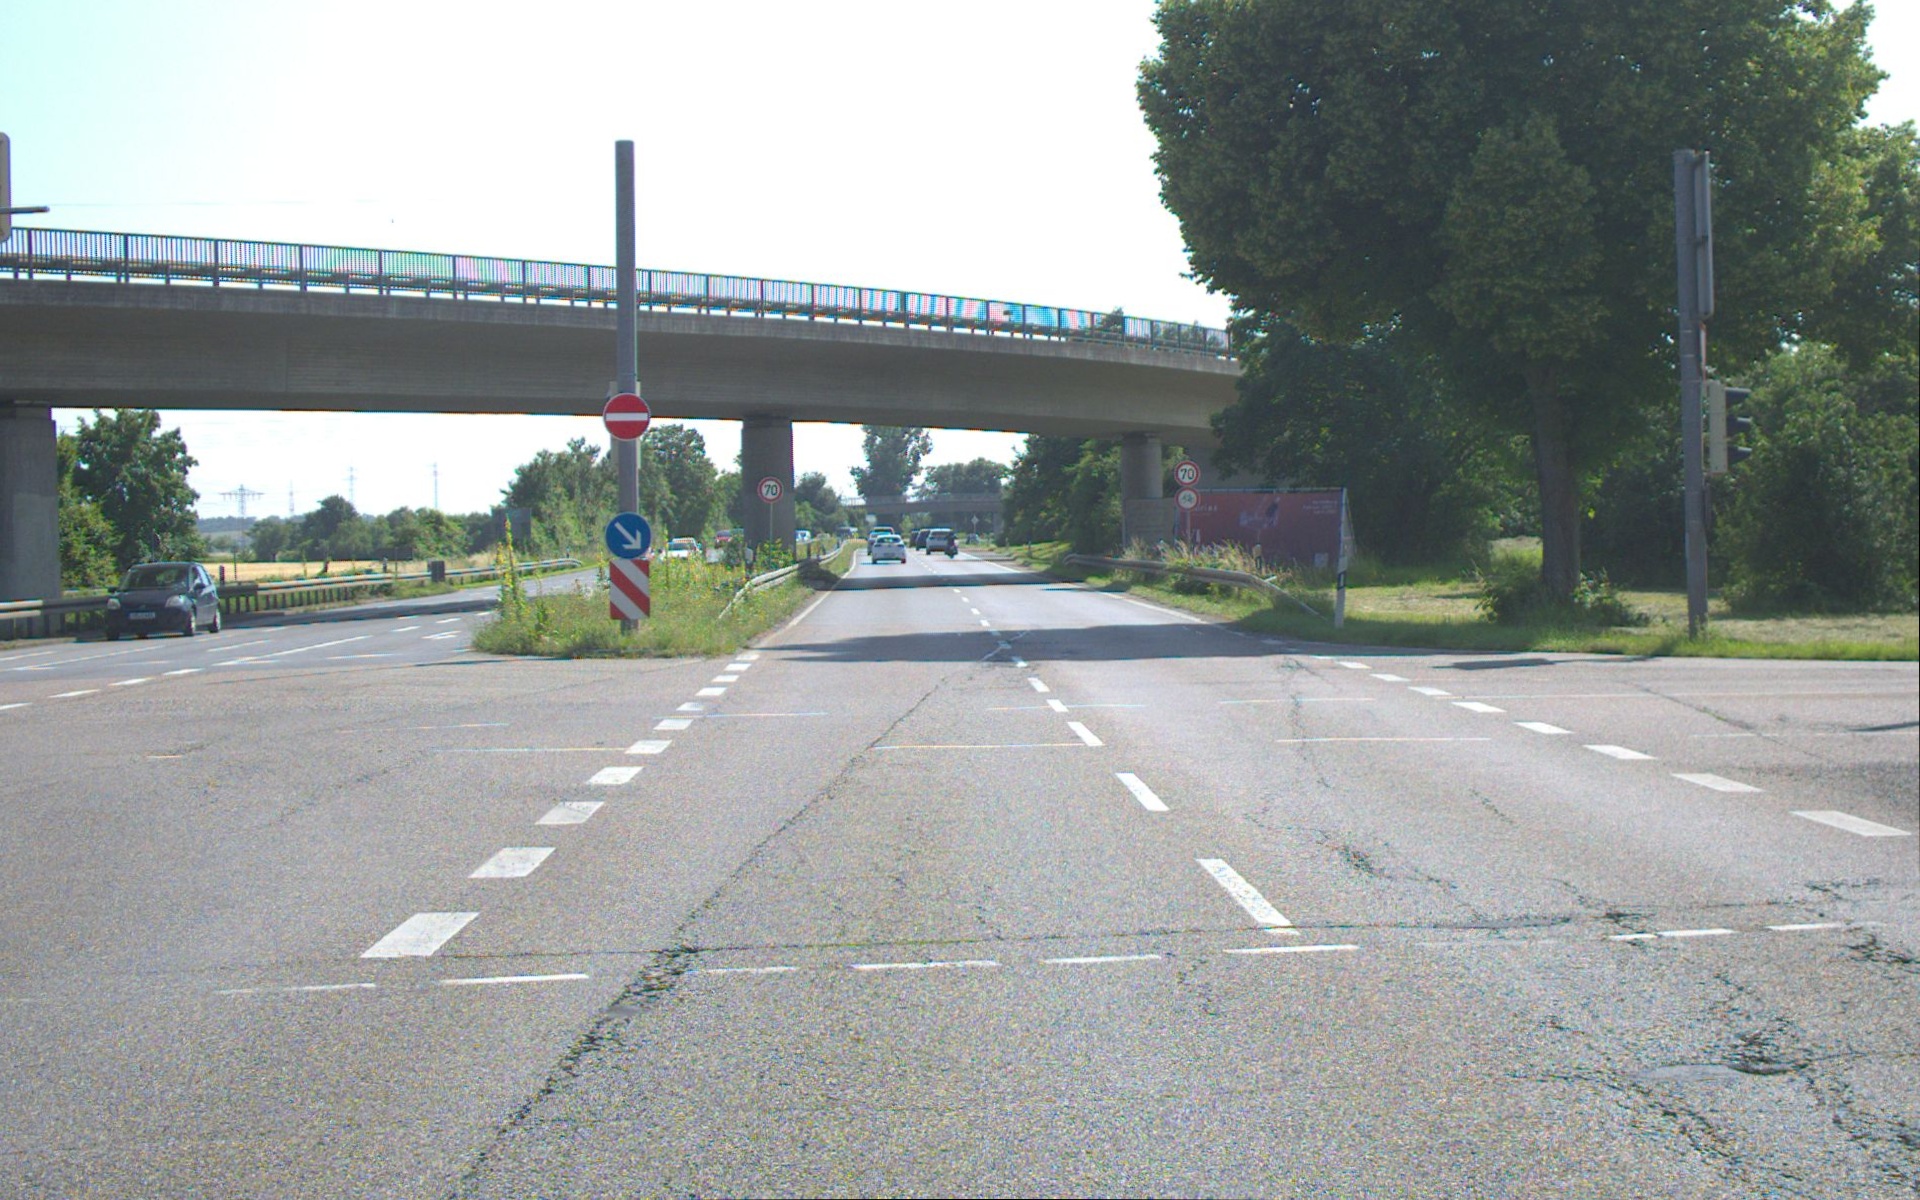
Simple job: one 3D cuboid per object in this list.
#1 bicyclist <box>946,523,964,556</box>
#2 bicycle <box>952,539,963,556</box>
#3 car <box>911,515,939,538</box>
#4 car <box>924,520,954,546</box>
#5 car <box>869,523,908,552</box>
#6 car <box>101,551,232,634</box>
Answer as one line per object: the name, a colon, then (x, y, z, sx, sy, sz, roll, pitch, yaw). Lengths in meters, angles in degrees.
bicyclist: (-0.289, -3.475, 198.351, 1.007, 1.880, 1.327, -2, 1, -1)
bicycle: (-0.164, -3.023, 198.041, 0.600, 0.980, 2.361, -2, 1, 0)
car: (-2.571, -5.451, 254.301, 1.993, 1.626, 4.000, 1, 0, -1)
car: (-1.333, -4.333, 222.005, 1.873, 1.634, 4.000, -1, 1, 1)
car: (-3.611, -3.176, 174.410, 1.851, 1.456, 4.000, 0, 1, 1)
car: (-15.363, -0.166, 66.703, 1.614, 1.437, 3.776, -4, 1, -1)
